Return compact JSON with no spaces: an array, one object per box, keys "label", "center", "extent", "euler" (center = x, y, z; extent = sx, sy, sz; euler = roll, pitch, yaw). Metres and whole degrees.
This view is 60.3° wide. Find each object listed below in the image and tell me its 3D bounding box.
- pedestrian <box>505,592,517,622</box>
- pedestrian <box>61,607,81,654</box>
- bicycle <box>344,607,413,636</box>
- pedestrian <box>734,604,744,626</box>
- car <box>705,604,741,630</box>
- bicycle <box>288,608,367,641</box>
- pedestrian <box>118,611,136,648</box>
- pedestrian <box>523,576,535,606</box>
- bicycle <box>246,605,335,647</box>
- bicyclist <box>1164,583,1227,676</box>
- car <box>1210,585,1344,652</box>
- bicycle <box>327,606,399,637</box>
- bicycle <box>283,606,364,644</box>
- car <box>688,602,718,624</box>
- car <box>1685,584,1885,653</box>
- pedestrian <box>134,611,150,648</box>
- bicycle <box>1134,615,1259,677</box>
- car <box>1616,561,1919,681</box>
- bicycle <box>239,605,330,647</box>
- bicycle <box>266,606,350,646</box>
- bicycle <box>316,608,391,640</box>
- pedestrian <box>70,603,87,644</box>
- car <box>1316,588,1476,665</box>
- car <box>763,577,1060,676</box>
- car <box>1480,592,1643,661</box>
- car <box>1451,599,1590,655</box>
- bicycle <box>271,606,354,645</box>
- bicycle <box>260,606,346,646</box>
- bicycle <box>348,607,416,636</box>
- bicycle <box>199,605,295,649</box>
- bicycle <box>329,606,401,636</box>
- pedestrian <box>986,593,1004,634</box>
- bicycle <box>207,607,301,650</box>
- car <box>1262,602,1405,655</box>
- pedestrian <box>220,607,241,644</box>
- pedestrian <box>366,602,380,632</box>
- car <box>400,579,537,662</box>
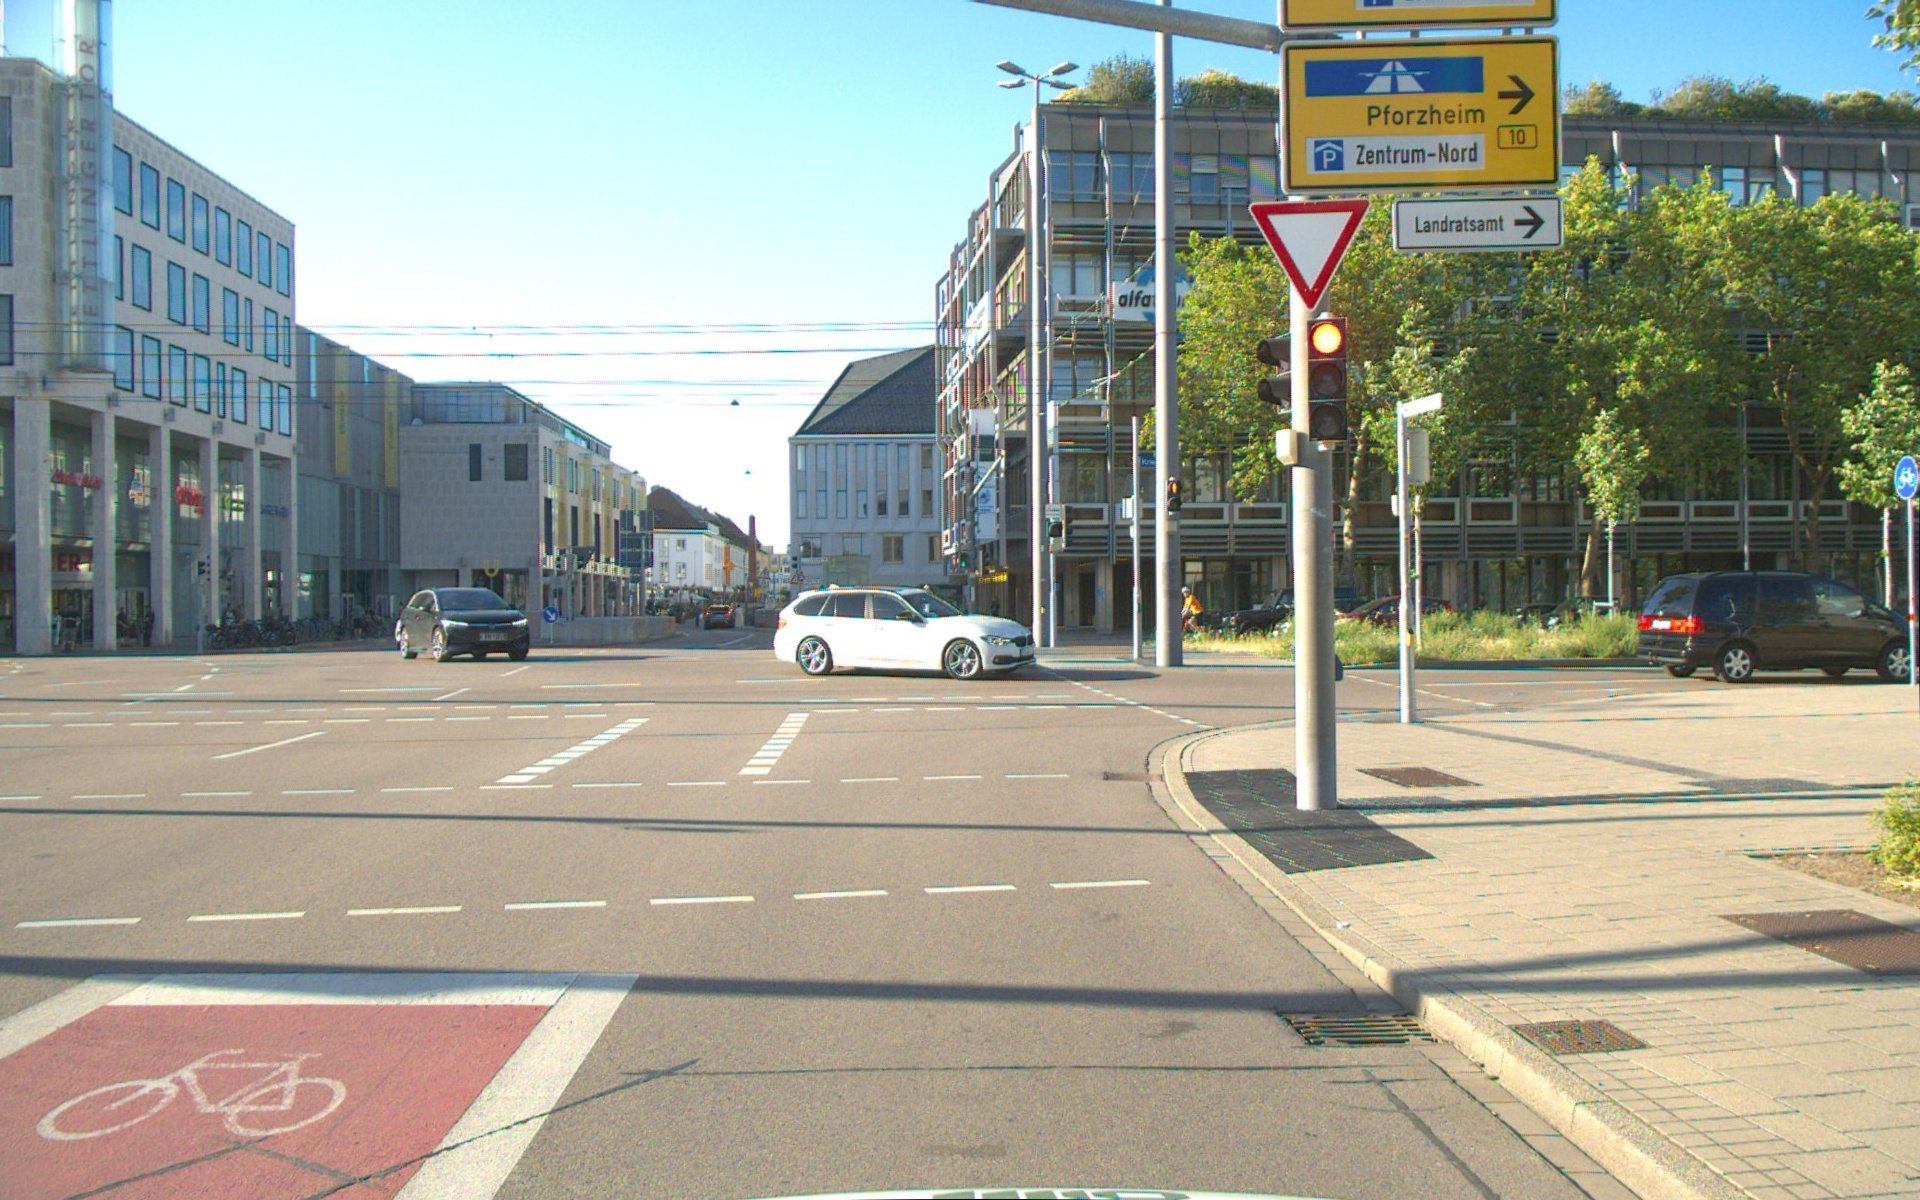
[{"label":"pedestrian","center":[-31.131,0.461,114.720],"extent":[0.613,2.049,0.734],"euler":[-1,0,1]},{"label":"pedestrian","center":[-32.558,1.112,60.578],"extent":[0.531,1.671,0.548],"euler":[-1,0,-16]},{"label":"bicycle","center":[-31.778,1.165,90.406],"extent":[3.430,1.554,0.984],"euler":[-1,0,-12]},{"label":"pedestrian","center":[-14.492,1.002,108.328],"extent":[0.598,1.436,0.569],"euler":[-1,0,-7]},{"label":"car","center":[-15.489,1.095,108.167],"extent":[2.157,1.635,4.320],"euler":[-1,0,-6]},{"label":"bicycle","center":[-30.537,1.168,79.862],"extent":[3.430,1.554,0.984],"euler":[-1,0,-12]},{"label":"pedestrian","center":[-35.045,1.244,69.572],"extent":[0.501,1.537,0.513],"euler":[-1,0,-5]},{"label":"pedestrian","center":[-30.145,-0.640,115.761],"extent":[0.613,2.049,0.734],"euler":[-1,0,1]},{"label":"bicycle","center":[-29.095,1.121,71.930],"extent":[3.427,1.726,1.114],"euler":[-1,0,-10]},{"label":"bicyclist","center":[6.719,0.832,47.225],"extent":[1.539,2.625,0.930],"euler":[-1,0,-10]},{"label":"car","center":[10.306,0.598,53.921],"extent":[3.908,2.049,1.999],"euler":[1,0,-3]},{"label":"bicycle","center":[-31.067,1.117,86.133],"extent":[3.430,1.554,0.984],"euler":[-1,0,-12]},{"label":"bicycle","center":[-30.333,1.185,78.872],"extent":[3.430,1.726,0.984],"euler":[-1,0,-12]},{"label":"car","center":[-20.357,1.019,131.173],"extent":[1.954,1.689,4.402],"euler":[-1,0,-5]},{"label":"car","center":[26.174,0.579,52.575],"extent":[5.332,2.049,2.096],"euler":[1,0,-3]},{"label":"pedestrian","center":[-34.760,1.253,70.289],"extent":[0.472,1.537,0.513],"euler":[-1,0,-5]},{"label":"bicycle","center":[6.749,1.301,47.225],"extent":[3.427,1.688,0.929],"euler":[-1,0,-10]},{"label":"car","center":[13.170,0.292,26.742],"extent":[4.389,1.789,1.997],"euler":[-1,1,-8]},{"label":"bicycle","center":[-28.864,1.085,70.718],"extent":[3.427,1.726,1.114],"euler":[-1,0,-10]},{"label":"bicycle","center":[-29.794,1.175,75.587],"extent":[3.430,1.726,0.984],"euler":[-1,0,-12]},{"label":"bicycle","center":[-30.879,1.210,84.272],"extent":[3.430,1.554,0.984],"euler":[-1,0,-12]},{"label":"pedestrian","center":[-35.607,0.948,66.788],"extent":[0.420,1.613,0.498],"euler":[-1,0,-5]},{"label":"car","center":[12.233,0.733,46.580],"extent":[3.908,2.049,1.999],"euler":[1,0,-3]},{"label":"car","center":[-0.828,0.422,27.743],"extent":[4.596,1.554,1.998],"euler":[-1,0,27]},{"label":"car","center":[18.829,0.821,51.880],"extent":[4.359,2.049,1.998],"euler":[1,0,-6]},{"label":"car","center":[18.670,0.901,55.210],"extent":[3.908,1.780,1.998],"euler":[1,0,-5]},{"label":"bicycle","center":[-30.034,1.176,76.787],"extent":[3.430,1.726,0.984],"euler":[-1,0,-12]},{"label":"bicycle","center":[-29.570,1.166,74.499],"extent":[3.430,1.726,0.984],"euler":[-1,0,-12]},{"label":"bicycle","center":[-31.942,1.195,91.430],"extent":[3.430,1.554,0.984],"euler":[-1,0,-12]},{"label":"bicycle","center":[-29.319,1.111,68.038],"extent":[3.427,1.726,1.114],"euler":[-1,0,-10]},{"label":"bicycle","center":[-31.384,1.105,87.250],"extent":[3.430,1.554,0.984],"euler":[-1,0,-12]},{"label":"pedestrian","center":[1.450,0.551,68.212],"extent":[0.650,1.687,0.755],"euler":[-1,0,-4]},{"label":"bicycle","center":[-29.554,1.165,69.259],"extent":[3.427,1.726,1.114],"euler":[-1,0,-10]},{"label":"car","center":[11.441,0.864,50.817],"extent":[3.908,1.534,1.867],"euler":[1,0,-4]},{"label":"pedestrian","center":[-33.233,1.150,75.330],"extent":[0.771,1.671,0.692],"euler":[-1,0,-17]},{"label":"pedestrian","center":[-33.763,0.966,95.146],"extent":[0.641,1.671,0.693],"euler":[-1,0,-9]},{"label":"car","center":[-10.713,0.396,35.831],"extent":[1.970,1.629,4.910],"euler":[0,1,-27]}]
